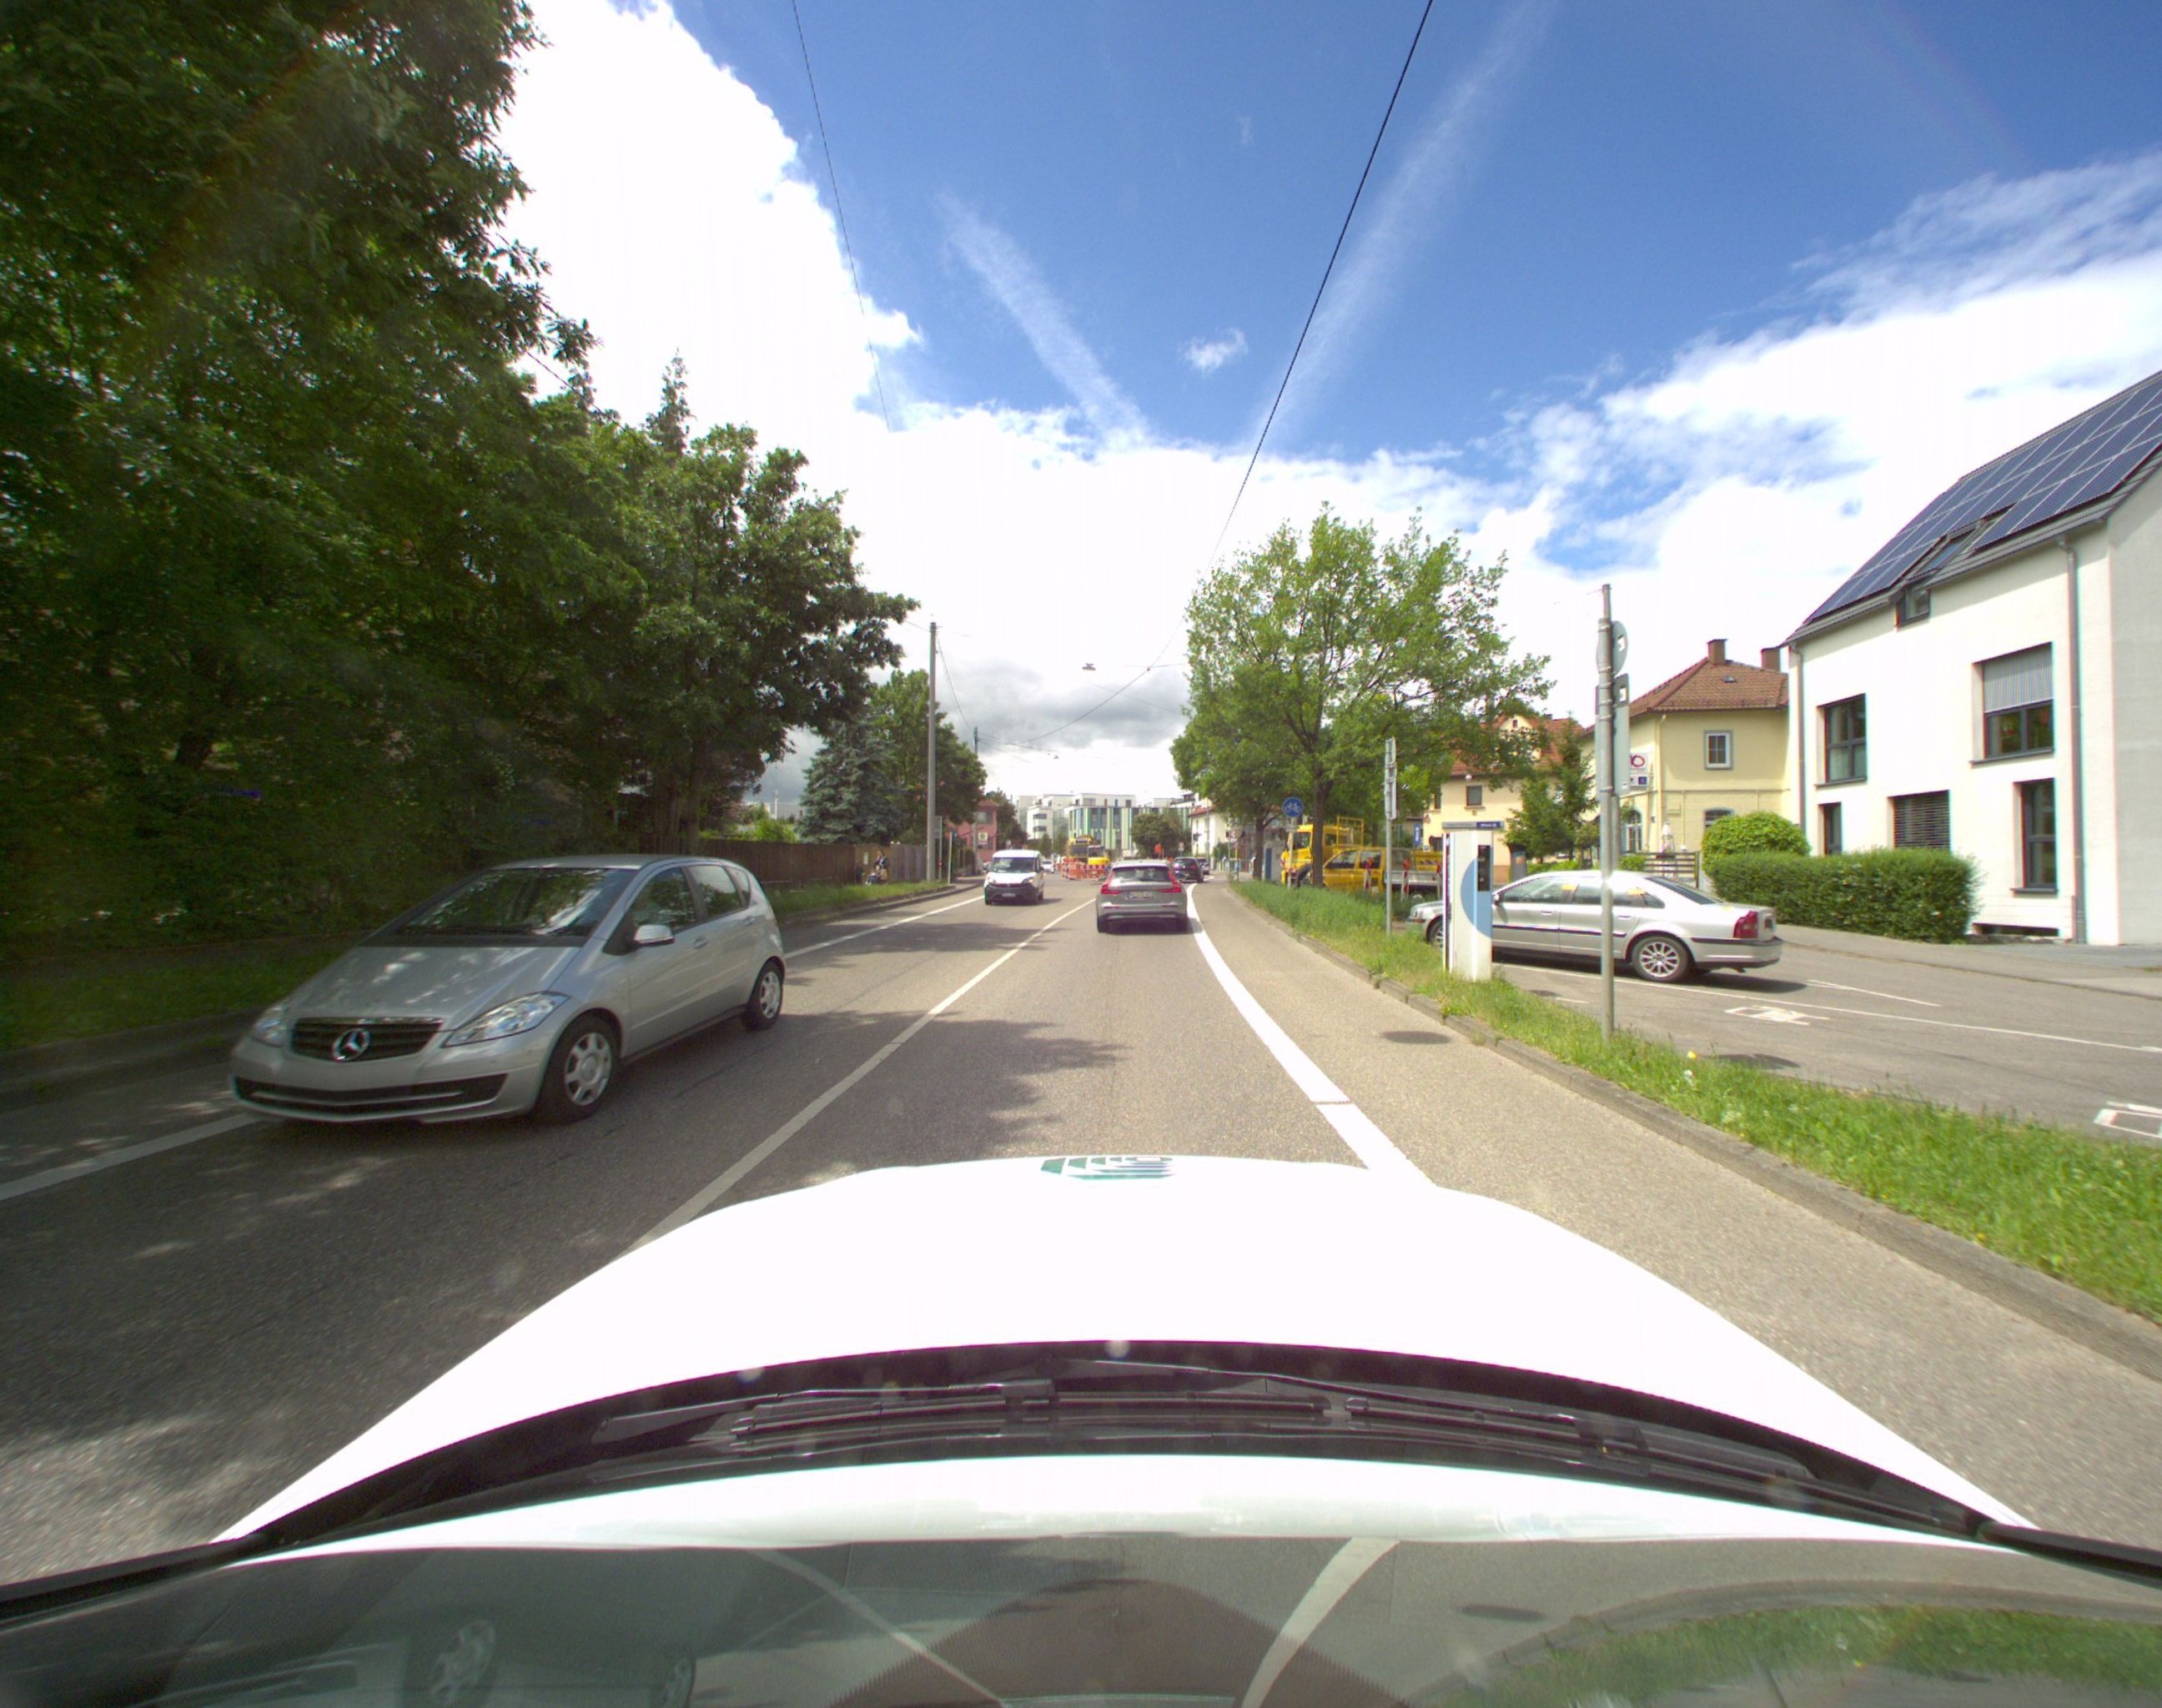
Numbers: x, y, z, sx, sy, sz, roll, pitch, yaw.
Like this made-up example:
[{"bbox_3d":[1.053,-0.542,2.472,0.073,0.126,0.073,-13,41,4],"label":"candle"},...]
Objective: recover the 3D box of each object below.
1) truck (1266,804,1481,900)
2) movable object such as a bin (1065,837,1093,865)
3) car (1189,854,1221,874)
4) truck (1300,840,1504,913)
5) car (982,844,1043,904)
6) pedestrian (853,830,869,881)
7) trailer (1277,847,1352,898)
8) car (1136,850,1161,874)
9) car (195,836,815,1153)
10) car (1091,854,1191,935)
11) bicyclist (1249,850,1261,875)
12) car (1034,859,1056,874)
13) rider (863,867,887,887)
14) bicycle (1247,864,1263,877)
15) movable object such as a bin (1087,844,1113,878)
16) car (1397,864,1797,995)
[{"bbox_3d":[10.296,-0.051,29.141,2.785,3.008,6.624,5,-2,-44],"label":"truck"},{"bbox_3d":[-0.286,-0.265,89.663,2.308,2.990,6.411,0,0,-7],"label":"movable object such as a bin"},{"bbox_3d":[10.334,0.853,68.039,2.095,1.510,3.999,3,-2,1],"label":"car"},{"bbox_3d":[9.847,0.647,25.463,2.010,2.014,5.612,4,-2,-39],"label":"truck"},{"bbox_3d":[-2.300,0.669,28.367,1.843,1.875,4.590,-2,-1,-2],"label":"car"},{"bbox_3d":[-8.746,0.066,32.339,0.400,2.014,0.415,3,-2,3],"label":"pedestrian"},{"bbox_3d":[10.242,0.792,36.208,2.376,2.032,5.523,1,-1,7],"label":"trailer"},{"bbox_3d":[6.332,0.799,76.216,1.982,2.014,4.009,3,-2,9],"label":"car"},{"bbox_3d":[-3.657,0.728,6.230,1.701,1.618,4.004,0,0,4],"label":"car"},{"bbox_3d":[1.335,0.800,17.811,1.919,1.540,4.005,-1,0,5],"label":"car"},{"bbox_3d":[11.515,0.567,53.903,0.587,1.559,0.566,3,-2,-3],"label":"bicyclist"},{"bbox_3d":[-3.899,1.434,89.197,1.878,1.508,4.005,-2,-2,5],"label":"car"},{"bbox_3d":[-7.979,0.891,31.520,0.726,0.735,0.690,3,-2,-1],"label":"rider"},{"bbox_3d":[11.485,1.080,53.850,0.593,0.812,1.752,3,-1,-2],"label":"bicycle"},{"bbox_3d":[1.582,0.555,66.333,2.027,2.643,5.941,0,0,1],"label":"movable object such as a bin"},{"bbox_3d":[7.294,0.936,11.940,1.777,1.452,4.633,2,-1,-42],"label":"car"}]
